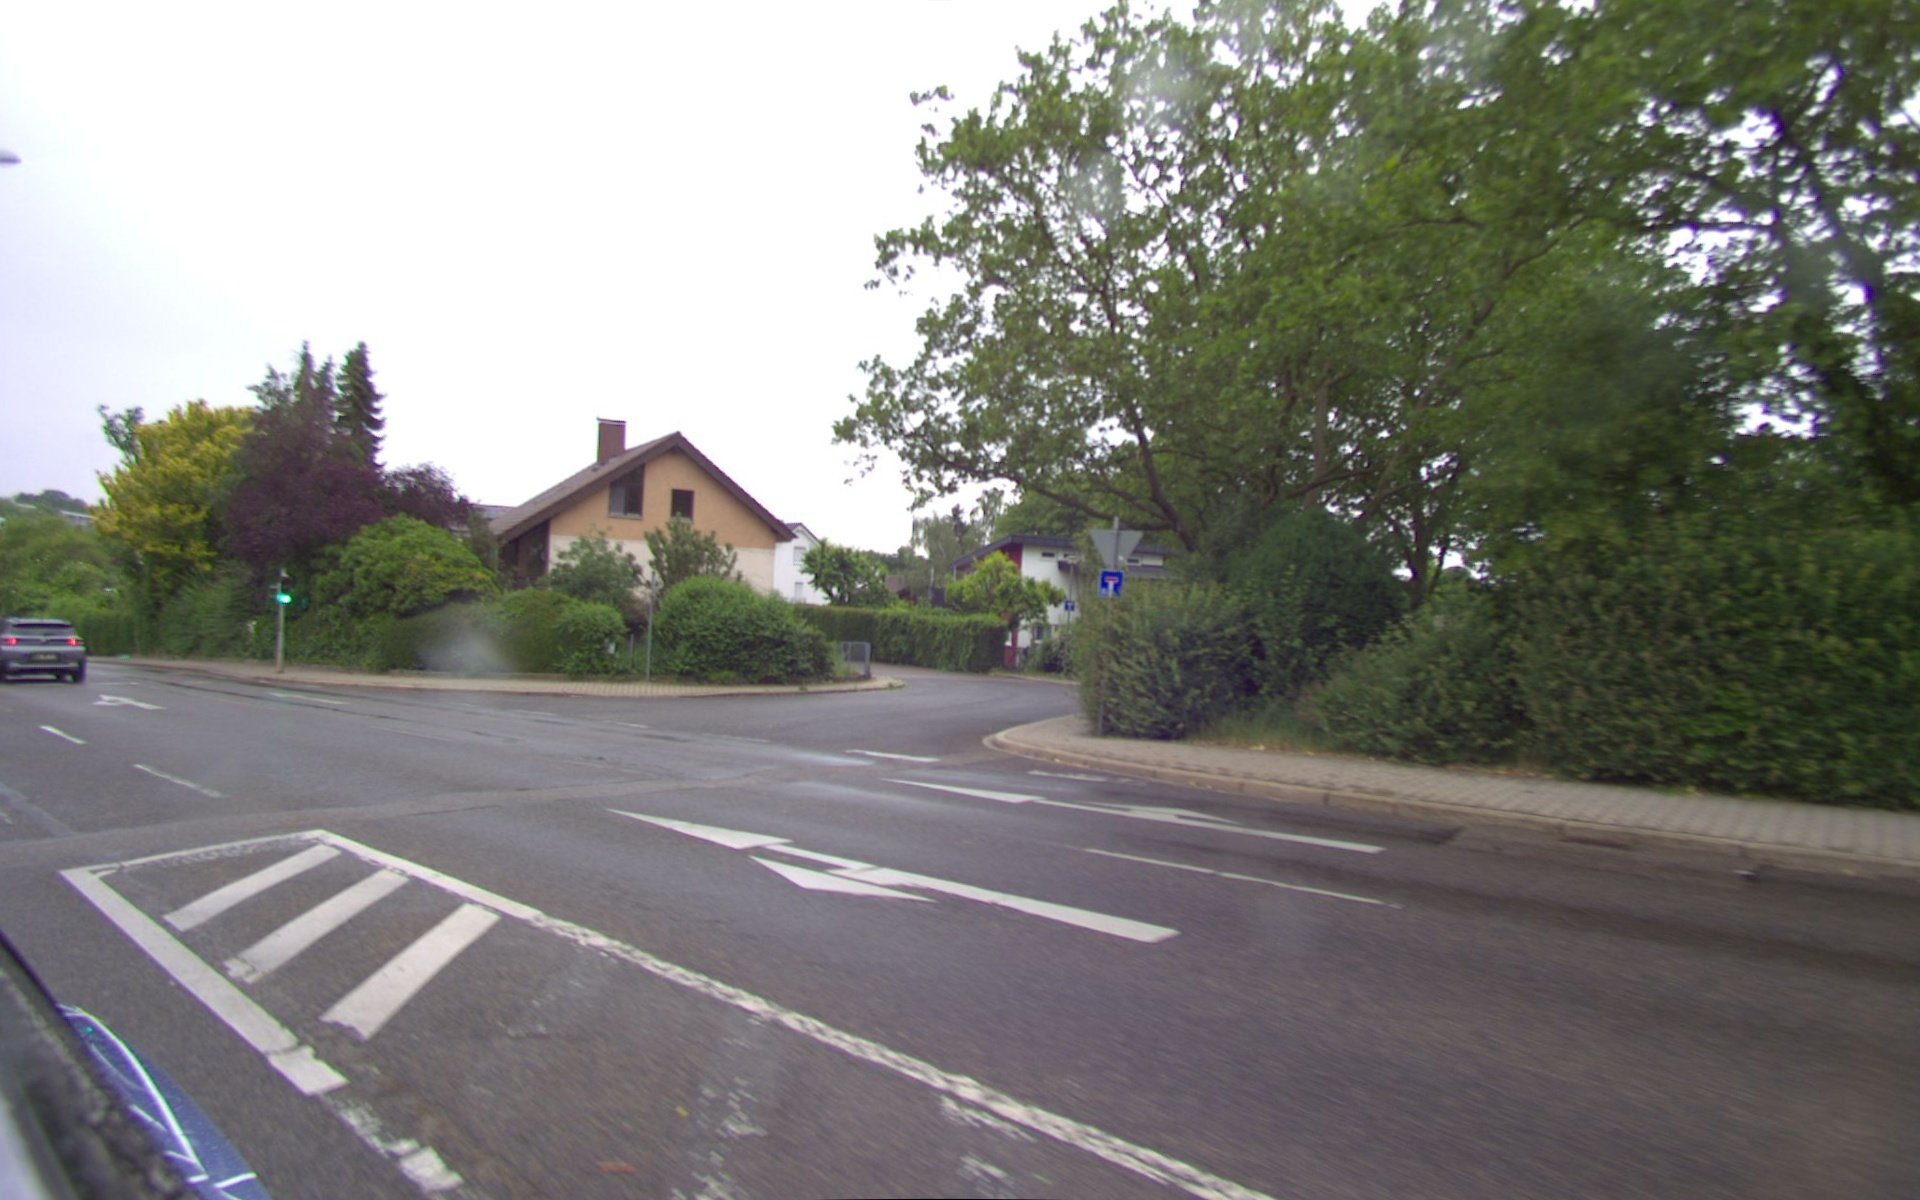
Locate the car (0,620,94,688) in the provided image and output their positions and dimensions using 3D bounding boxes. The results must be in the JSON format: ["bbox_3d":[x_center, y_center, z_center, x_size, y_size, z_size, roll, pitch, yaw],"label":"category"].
[{"bbox_3d":[-23.629,1.353,25.715,3.728,1.615,1.777,-1,-4,39],"label":"car"}]
